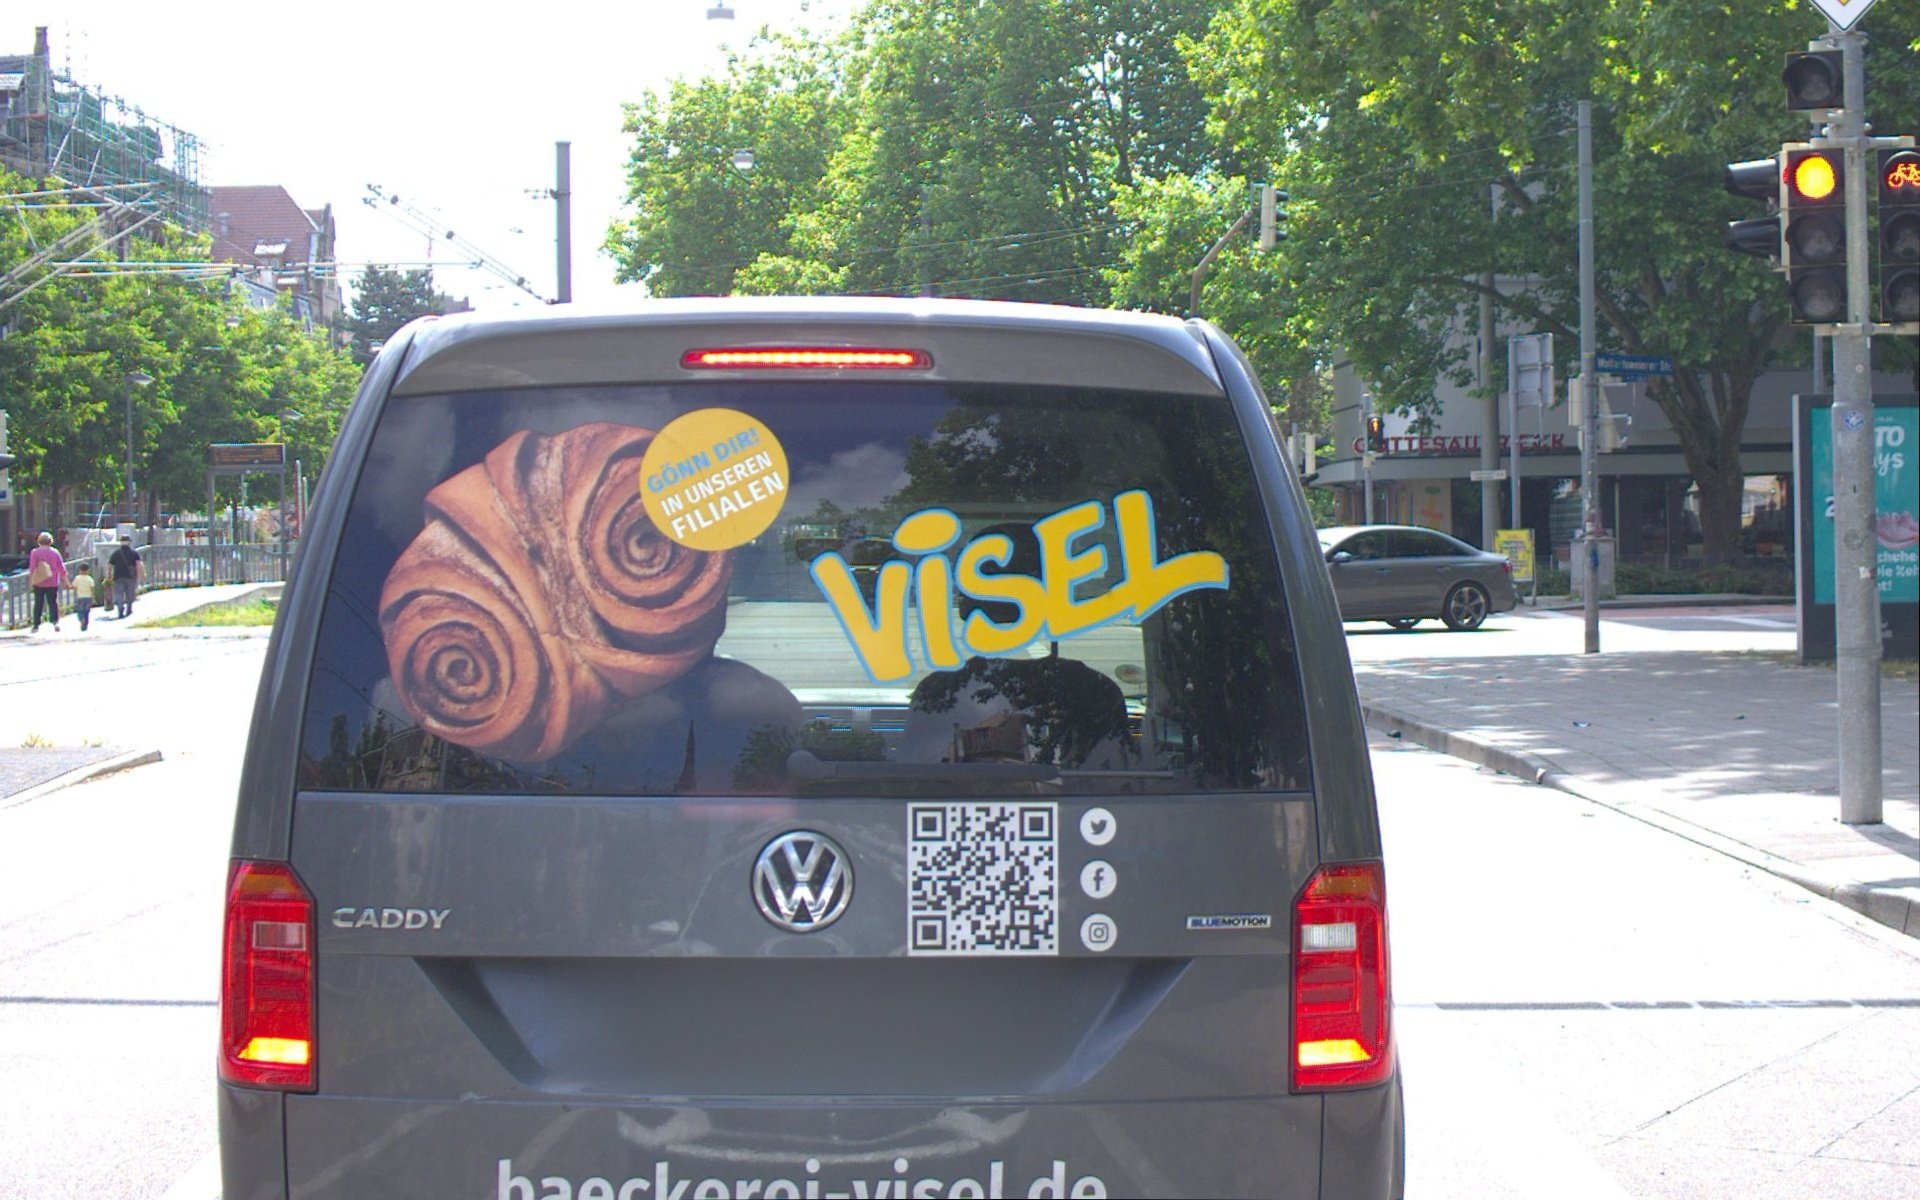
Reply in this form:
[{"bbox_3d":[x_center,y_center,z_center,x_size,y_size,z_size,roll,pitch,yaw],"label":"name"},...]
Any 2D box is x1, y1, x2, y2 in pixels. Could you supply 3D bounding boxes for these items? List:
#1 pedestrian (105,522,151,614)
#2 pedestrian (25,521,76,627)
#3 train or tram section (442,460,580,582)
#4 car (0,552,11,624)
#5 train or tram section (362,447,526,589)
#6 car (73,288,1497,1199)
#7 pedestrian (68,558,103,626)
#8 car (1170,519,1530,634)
[{"bbox_3d":[-15.341,-0.600,63.383,0.659,1.679,0.655,-1,1,0],"label":"pedestrian"},{"bbox_3d":[-15.444,-0.445,58.388,0.659,1.778,0.660,-1,1,0],"label":"pedestrian"},{"bbox_3d":[-13.171,-2.329,101.843,2.240,3.320,14.014,-1,1,0],"label":"train or tram section"},{"bbox_3d":[-27.813,-0.295,95.101,1.993,2.007,4.000,-1,1,0],"label":"car"},{"bbox_3d":[-13.104,-2.104,88.334,2.240,3.320,12.972,-1,1,0],"label":"train or tram section"},{"bbox_3d":[-0.229,0.482,5.989,1.750,1.802,3.475,0,1,0],"label":"car"},{"bbox_3d":[-14.838,-0.132,58.353,0.463,1.140,0.435,-1,1,0],"label":"pedestrian"},{"bbox_3d":[5.180,-0.334,45.587,4.480,1.385,1.707,-2,1,-24],"label":"car"}]
